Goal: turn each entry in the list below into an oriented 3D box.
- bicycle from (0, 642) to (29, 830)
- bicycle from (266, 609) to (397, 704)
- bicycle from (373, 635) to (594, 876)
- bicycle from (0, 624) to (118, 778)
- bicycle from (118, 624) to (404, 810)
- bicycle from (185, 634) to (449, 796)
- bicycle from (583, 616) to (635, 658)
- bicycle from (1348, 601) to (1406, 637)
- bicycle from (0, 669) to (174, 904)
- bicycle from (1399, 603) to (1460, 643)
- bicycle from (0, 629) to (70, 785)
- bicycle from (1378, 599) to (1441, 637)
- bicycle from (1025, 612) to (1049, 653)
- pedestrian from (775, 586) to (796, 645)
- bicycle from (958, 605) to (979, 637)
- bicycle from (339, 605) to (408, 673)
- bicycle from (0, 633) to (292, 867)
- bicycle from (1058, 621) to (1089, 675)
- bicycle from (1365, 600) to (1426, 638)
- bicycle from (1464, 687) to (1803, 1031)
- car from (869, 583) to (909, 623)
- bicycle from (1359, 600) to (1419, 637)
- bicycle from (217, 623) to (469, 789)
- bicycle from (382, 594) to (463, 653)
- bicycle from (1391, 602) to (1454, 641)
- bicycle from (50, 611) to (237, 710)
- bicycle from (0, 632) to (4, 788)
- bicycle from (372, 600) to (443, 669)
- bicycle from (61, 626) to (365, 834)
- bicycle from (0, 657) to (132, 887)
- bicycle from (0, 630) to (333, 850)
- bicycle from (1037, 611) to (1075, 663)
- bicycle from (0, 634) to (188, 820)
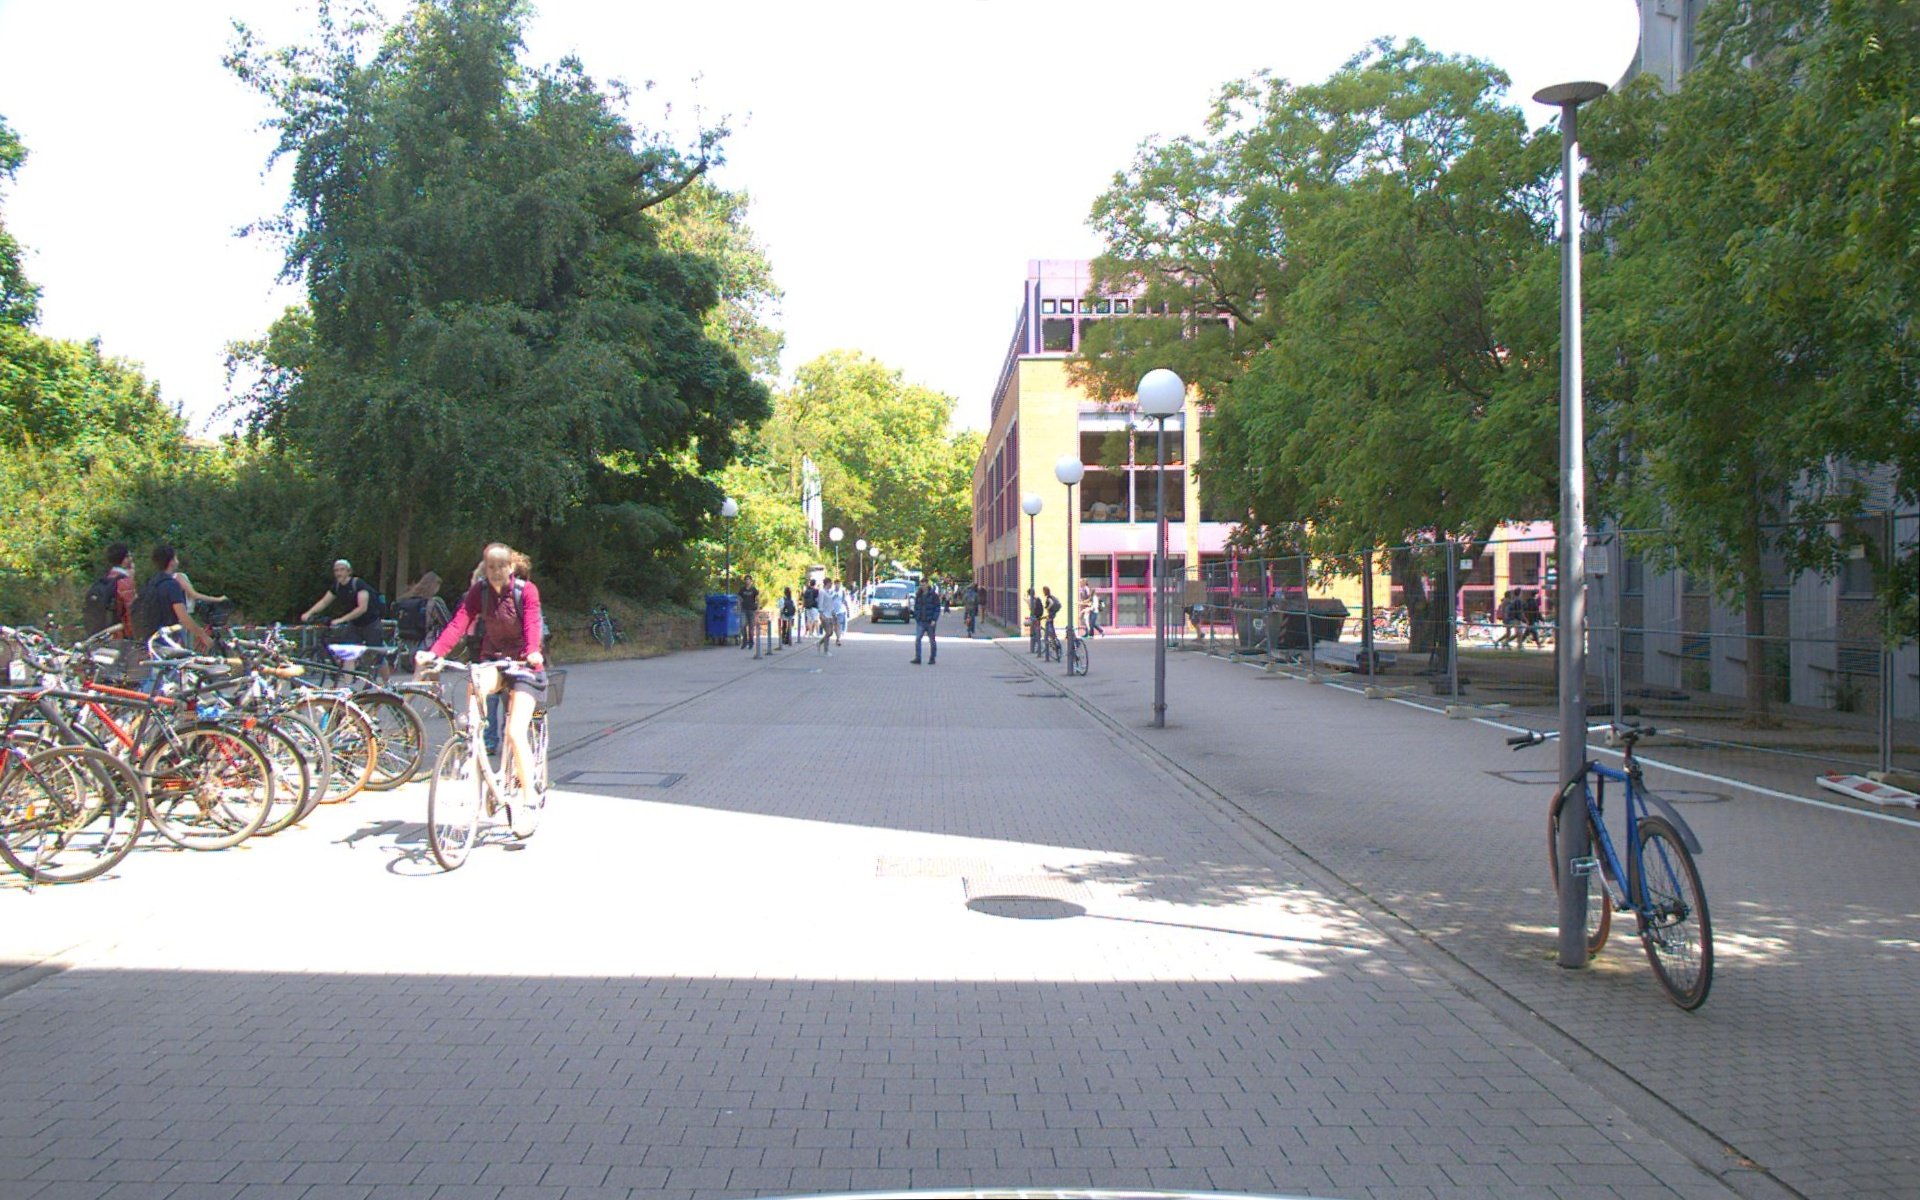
[{"bbox_3d":[-6.478,0.796,9.892,1.658,1.102,0.474,1,0,11],"label":"bicycle"},{"bbox_3d":[-7.887,0.689,20.831,0.463,1.129,1.846,1,0,19],"label":"bicycle"},{"bbox_3d":[-2.621,0.800,9.344,0.756,1.170,2.106,-1,-1,-4],"label":"bicycle"},{"bbox_3d":[-7.413,0.757,12.790,1.658,1.129,0.474,1,0,11],"label":"bicycle"},{"bbox_3d":[-4.611,0.767,10.978,1.662,1.189,0.473,1,0,-8],"label":"bicycle"},{"bbox_3d":[-4.537,0.806,11.742,1.662,1.110,0.473,1,0,-8],"label":"bicycle"},{"bbox_3d":[-7.970,0.837,37.605,0.412,0.926,1.741,0,-1,14],"label":"bicycle"},{"bbox_3d":[13.740,0.620,54.542,1.773,1.129,0.523,1,0,-3],"label":"bicycle"},{"bbox_3d":[-4.588,0.861,7.626,1.681,1.036,0.468,1,0,-37],"label":"bicycle"},{"bbox_3d":[13.928,0.679,49.069,1.659,1.129,0.474,1,0,2],"label":"bicycle"},{"bbox_3d":[-7.511,0.768,12.281,1.682,1.102,0.474,1,0,13],"label":"bicycle"},{"bbox_3d":[13.818,0.559,50.851,1.773,1.129,0.523,1,0,-2],"label":"bicycle"},{"bbox_3d":[1.954,0.827,42.253,0.441,0.978,1.739,-2,0,-2],"label":"bicycle"},{"bbox_3d":[-4.970,0.445,47.063,0.558,1.639,0.916,1,-1,-8],"label":"pedestrian"},{"bbox_3d":[0.285,0.724,57.895,0.575,1.102,1.906,0,0,-4],"label":"bicycle"},{"bbox_3d":[-9.663,0.623,27.232,0.470,1.065,1.674,1,0,-42],"label":"bicycle"},{"bbox_3d":[-4.512,0.780,8.876,1.668,1.189,0.471,1,0,-19],"label":"bicycle"},{"bbox_3d":[2.118,0.883,30.942,0.387,0.952,1.731,-2,0,-2],"label":"bicycle"},{"bbox_3d":[13.608,0.590,51.703,1.772,1.129,0.524,1,0,2],"label":"bicycle"},{"bbox_3d":[2.573,0.928,6.550,0.526,1.057,1.858,-1,0,-2],"label":"bicycle"},{"bbox_3d":[-3.231,0.105,75.797,1.754,1.792,4.480,0,0,-1],"label":"car"},{"bbox_3d":[13.664,0.578,52.672,1.773,1.129,0.523,1,0,-4],"label":"bicycle"},{"bbox_3d":[-4.524,0.771,12.211,1.663,1.179,0.473,1,0,-10],"label":"bicycle"},{"bbox_3d":[-10.063,0.437,31.009,0.463,1.065,1.700,2,0,20],"label":"bicycle"},{"bbox_3d":[14.033,0.649,50.194,1.771,1.129,0.524,1,0,2],"label":"bicycle"},{"bbox_3d":[-9.352,0.679,18.968,1.881,1.065,0.537,1,2,-30],"label":"bicycle"},{"bbox_3d":[-7.633,0.770,11.742,1.658,1.102,0.474,1,0,18],"label":"bicycle"},{"bbox_3d":[-9.275,0.571,27.728,0.470,1.065,1.674,3,0,-42],"label":"bicycle"},{"bbox_3d":[-4.568,0.769,10.127,1.737,1.189,0.474,1,0,12],"label":"bicycle"},{"bbox_3d":[-4.961,0.834,7.968,1.681,1.080,0.468,1,0,-37],"label":"bicycle"},{"bbox_3d":[-4.497,0.774,9.419,1.665,1.189,0.472,1,0,-14],"label":"bicycle"},{"bbox_3d":[2.141,0.811,36.921,0.694,1.112,1.748,0,0,-2],"label":"bicycle"},{"bbox_3d":[-5.821,0.797,11.027,0.496,1.102,1.700,1,0,2],"label":"bicycle"}]
